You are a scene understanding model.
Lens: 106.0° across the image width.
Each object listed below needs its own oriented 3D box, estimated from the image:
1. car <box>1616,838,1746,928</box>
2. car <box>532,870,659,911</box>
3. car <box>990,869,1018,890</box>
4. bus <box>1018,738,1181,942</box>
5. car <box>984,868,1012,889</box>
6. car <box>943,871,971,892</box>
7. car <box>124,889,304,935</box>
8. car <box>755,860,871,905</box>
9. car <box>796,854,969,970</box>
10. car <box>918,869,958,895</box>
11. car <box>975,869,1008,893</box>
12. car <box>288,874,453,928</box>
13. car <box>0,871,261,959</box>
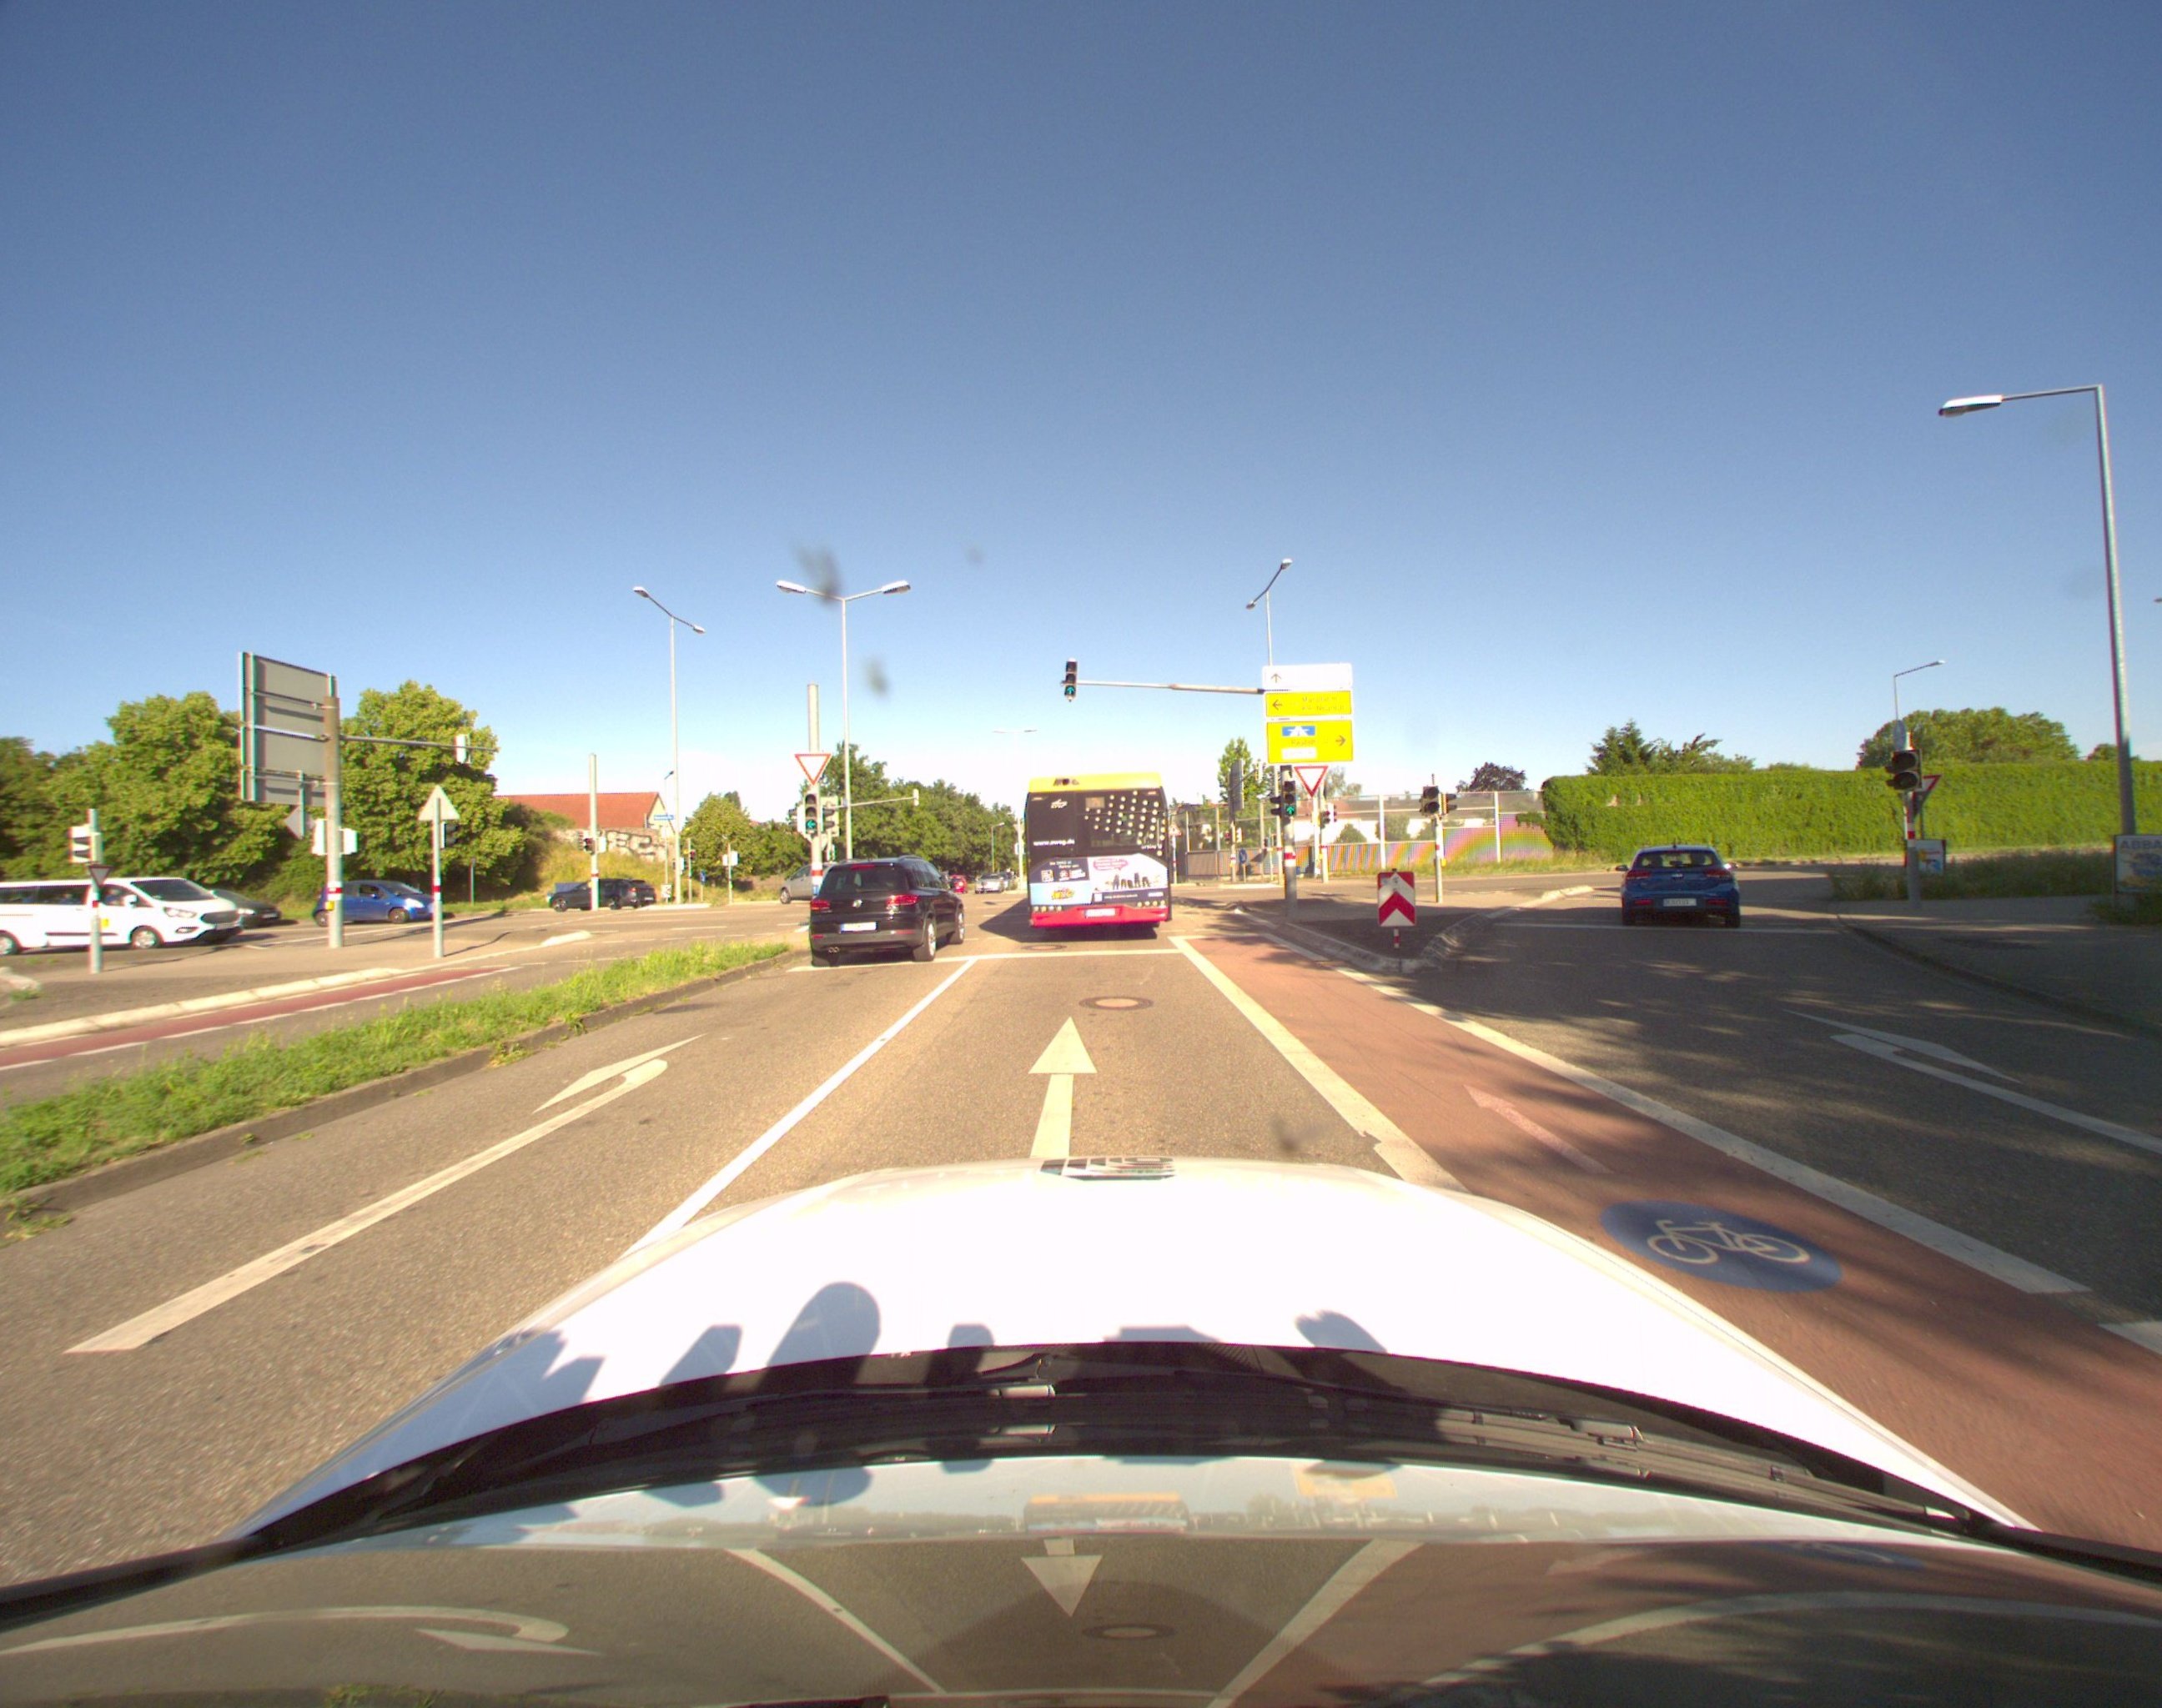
[{"bbox_3d":[11.249,0.471,15.492,1.715,1.440,3.818,-2,1,33],"label":"car"},{"bbox_3d":[-21.725,1.624,36.592,4.392,1.616,2.046,-2,-1,-2],"label":"car"},{"bbox_3d":[-6.511,2.172,69.239,1.988,1.616,4.527,-2,-1,-1],"label":"car"},{"bbox_3d":[0.315,-0.209,20.106,2.748,3.458,12.395,0,0,0],"label":"bus"},{"bbox_3d":[-6.333,1.862,62.484,1.741,1.483,3.886,-3,-1,-1],"label":"car"},{"bbox_3d":[-9.645,2.120,63.581,1.640,1.483,3.711,-3,-1,-1],"label":"car"},{"bbox_3d":[-30.457,2.011,28.719,4.020,1.274,1.890,-2,1,-5],"label":"car"},{"bbox_3d":[-10.803,1.126,32.803,4.360,1.616,2.061,-2,1,32],"label":"car"},{"bbox_3d":[-3.165,0.856,13.835,1.820,1.627,4.001,-2,-1,1],"label":"car"},{"bbox_3d":[-9.906,1.929,56.667,1.987,1.644,4.528,-3,-1,-1],"label":"car"},{"bbox_3d":[-6.156,1.874,56.427,1.788,1.506,4.528,-3,-1,-1],"label":"car"},{"bbox_3d":[-25.389,1.653,29.242,4.020,1.644,1.890,-2,1,-5],"label":"car"},{"bbox_3d":[-26.076,1.603,22.057,5.250,2.013,2.044,-2,1,-5],"label":"car"}]
